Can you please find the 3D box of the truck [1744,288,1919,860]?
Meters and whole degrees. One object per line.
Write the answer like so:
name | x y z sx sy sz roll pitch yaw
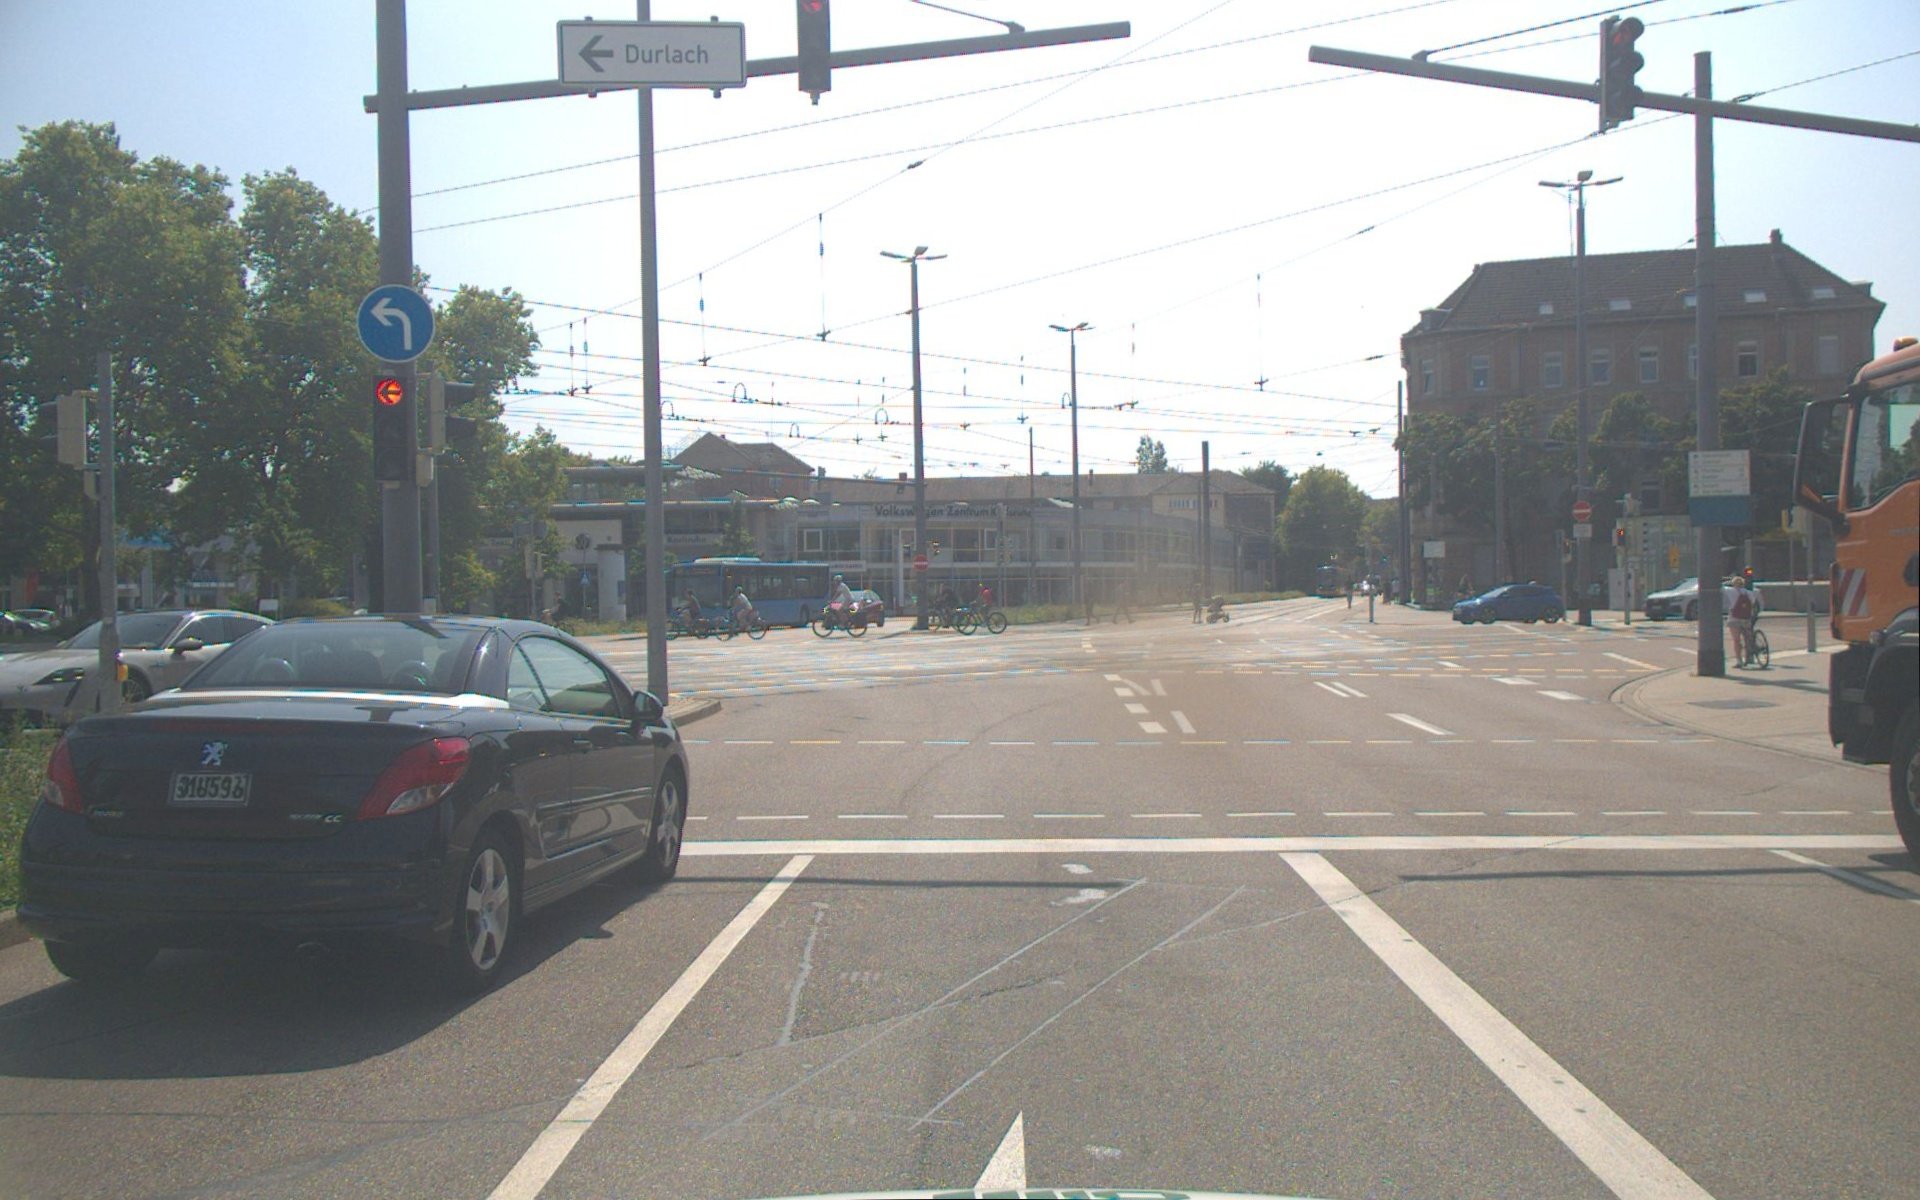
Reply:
truck | 6.514 -0.130 8.027 2.440 3.189 6.864 1 0 3

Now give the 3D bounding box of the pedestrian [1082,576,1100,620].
pedestrian | 5.233 -0.074 66.182 0.525 1.751 0.486 -1 0 42

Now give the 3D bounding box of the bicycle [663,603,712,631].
bicycle | -10.039 0.625 60.959 1.782 0.958 0.415 -1 0 -12

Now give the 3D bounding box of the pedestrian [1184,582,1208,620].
pedestrian | 9.796 0.048 68.630 0.834 1.572 0.528 -1 0 -7

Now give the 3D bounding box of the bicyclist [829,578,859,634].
bicyclist | -3.852 0.207 54.823 0.907 1.839 0.496 -1 0 -11

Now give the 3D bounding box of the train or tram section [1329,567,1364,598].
train or tram section | 46.805 -2.151 200.095 2.535 3.578 9.658 -1 0 22

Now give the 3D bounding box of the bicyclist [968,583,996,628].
bicyclist | 0.739 0.175 56.419 0.856 1.509 0.496 -1 0 -12

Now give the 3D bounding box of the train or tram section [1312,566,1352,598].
train or tram section | 42.910 -2.099 190.589 2.536 3.578 10.895 -1 0 23

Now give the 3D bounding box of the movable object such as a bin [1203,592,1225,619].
movable object such as a bin | 10.551 0.237 68.716 0.798 1.096 0.511 -1 0 -10

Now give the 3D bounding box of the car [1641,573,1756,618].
car | 28.245 -0.179 63.263 4.270 1.646 1.739 -1 0 -27

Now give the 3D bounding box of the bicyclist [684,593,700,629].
bicyclist | -9.878 0.404 60.983 0.534 1.316 0.558 -1 0 -10

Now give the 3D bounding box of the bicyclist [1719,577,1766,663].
bicyclist | 14.252 0.359 30.129 0.614 1.544 0.712 -1 0 13

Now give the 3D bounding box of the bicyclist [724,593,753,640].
bicyclist | -7.362 0.544 54.991 0.893 1.534 0.558 -1 0 -11

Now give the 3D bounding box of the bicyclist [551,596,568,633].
bicyclist | -14.561 0.516 60.151 0.534 1.316 0.558 -1 0 -10

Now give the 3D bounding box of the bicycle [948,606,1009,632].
bicycle | 0.632 0.648 56.407 2.012 0.816 0.478 -1 0 -12

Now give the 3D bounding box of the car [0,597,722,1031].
car | -2.370 0.713 7.492 1.728 1.412 3.783 1 0 5

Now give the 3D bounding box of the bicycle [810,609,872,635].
bicycle | -3.935 0.720 54.806 2.012 0.816 0.478 -1 0 -12

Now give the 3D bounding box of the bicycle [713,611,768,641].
bicycle | -7.295 0.851 55.009 1.782 0.958 0.566 -1 0 -12

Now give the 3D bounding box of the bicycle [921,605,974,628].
bicycle | -0.454 0.593 60.163 1.827 0.816 0.605 -1 0 -18

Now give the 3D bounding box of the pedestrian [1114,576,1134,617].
pedestrian | 6.738 -0.148 67.894 0.686 1.631 0.572 -1 0 -7

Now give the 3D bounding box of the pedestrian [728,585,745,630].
pedestrian | -8.436 0.276 62.520 0.544 1.713 0.452 -1 0 -17

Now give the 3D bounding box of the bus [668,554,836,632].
bus | -8.900 -0.331 72.945 2.508 3.136 12.029 -1 0 18

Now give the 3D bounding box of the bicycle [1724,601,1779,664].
bicycle | 14.199 0.575 29.695 0.525 1.073 1.655 -1 0 13

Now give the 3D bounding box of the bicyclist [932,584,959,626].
bicyclist | -0.520 0.195 60.152 0.857 1.501 0.544 -1 0 -17

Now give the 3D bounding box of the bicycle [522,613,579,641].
bicycle | -14.888 0.990 60.139 1.996 0.958 0.466 -1 0 -12

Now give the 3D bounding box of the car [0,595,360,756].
car | -9.527 0.779 19.596 1.952 1.612 4.716 -1 0 20

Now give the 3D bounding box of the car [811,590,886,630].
car | -4.680 0.411 69.730 1.713 1.579 4.002 -1 0 19

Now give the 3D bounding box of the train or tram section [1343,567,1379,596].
train or tram section | 51.072 -2.331 210.377 2.535 3.578 12.972 -1 0 22

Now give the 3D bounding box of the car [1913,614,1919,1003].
car | 3.427 0.761 2.254 1.732 1.453 4.611 -1 0 2

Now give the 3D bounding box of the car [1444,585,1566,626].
car | 19.891 0.191 60.443 3.910 1.418 1.594 -1 0 -6
